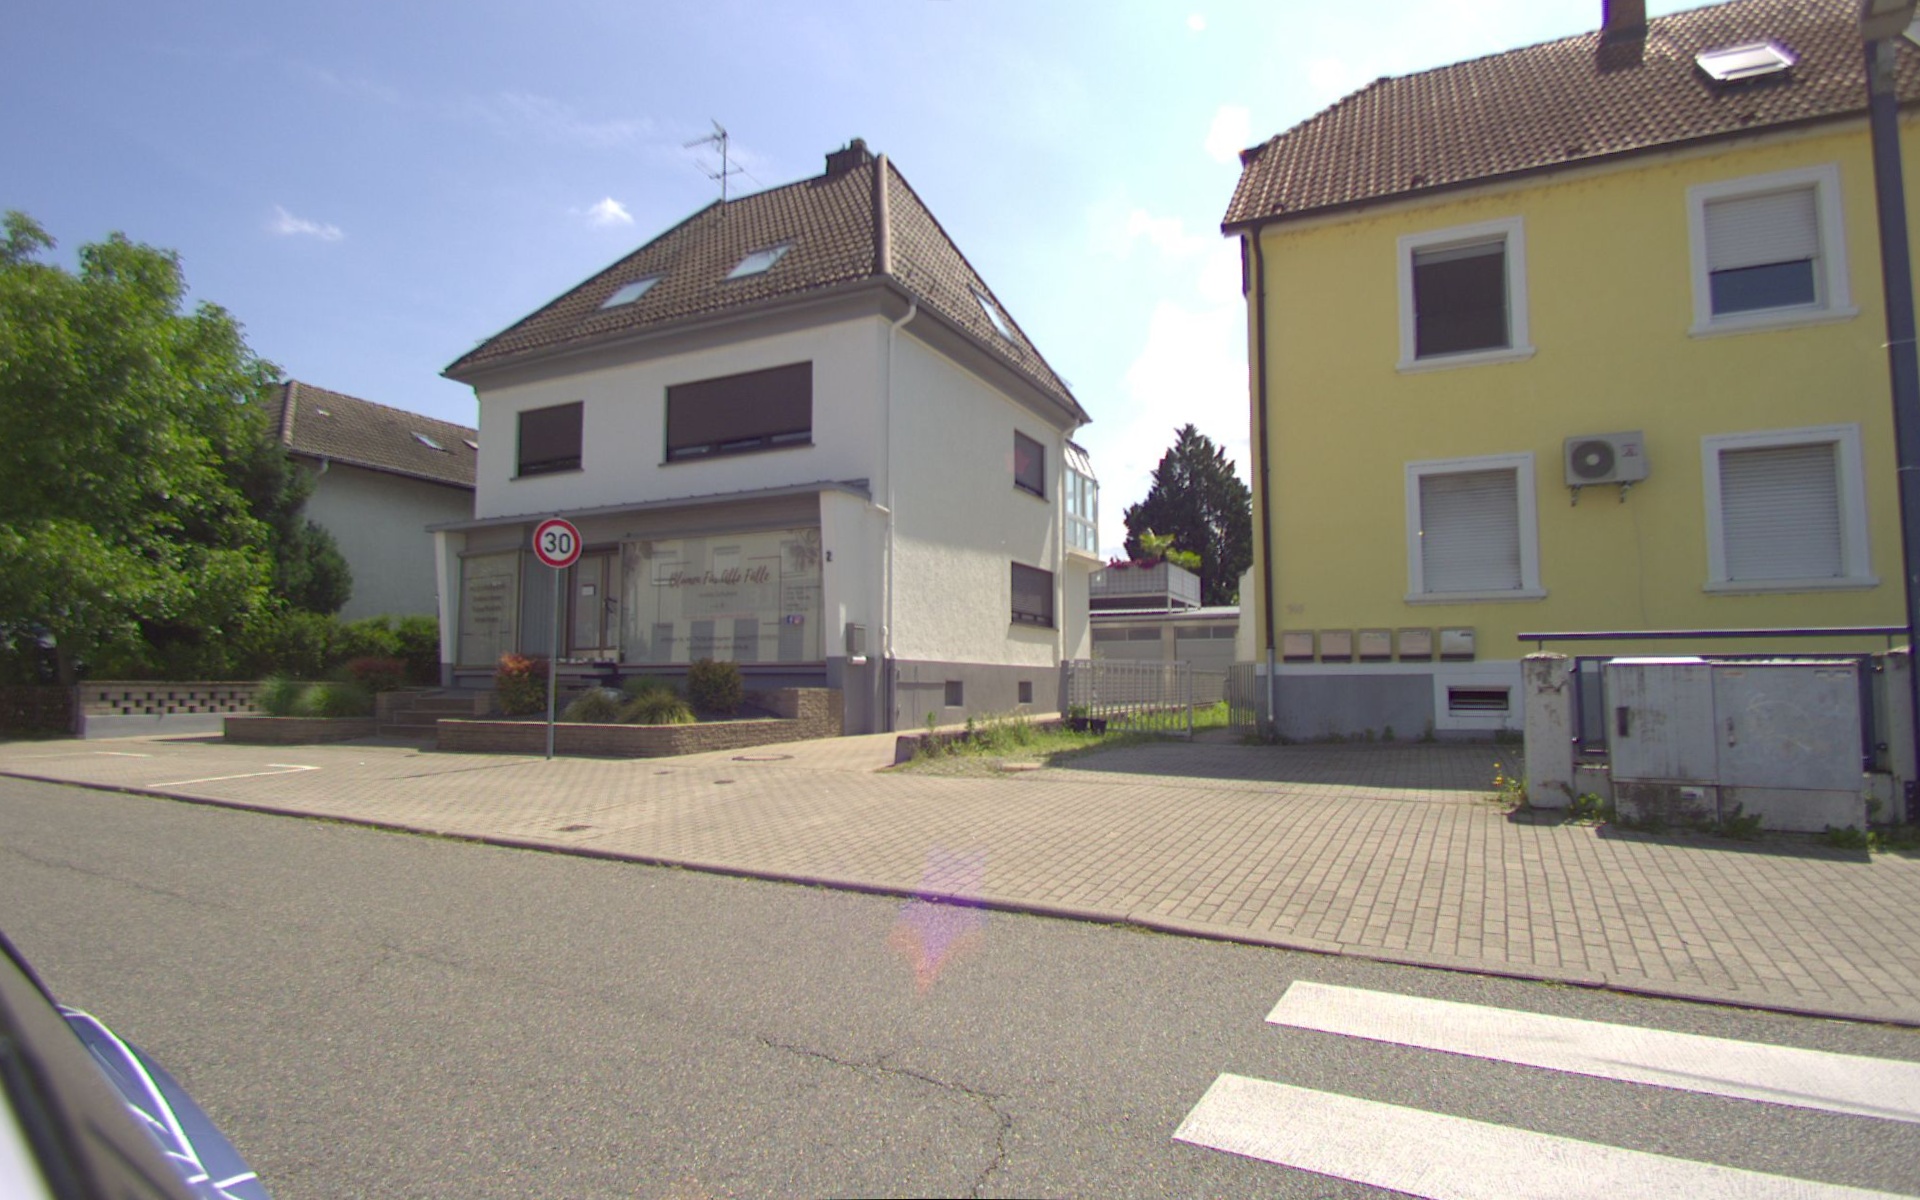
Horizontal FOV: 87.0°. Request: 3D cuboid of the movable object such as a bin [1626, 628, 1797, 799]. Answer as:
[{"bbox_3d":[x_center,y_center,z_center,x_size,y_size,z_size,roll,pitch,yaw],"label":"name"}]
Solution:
[{"bbox_3d":[5.830,0.860,7.921,0.898,1.235,0.879,-3,-5,29],"label":"movable object such as a bin"}]
